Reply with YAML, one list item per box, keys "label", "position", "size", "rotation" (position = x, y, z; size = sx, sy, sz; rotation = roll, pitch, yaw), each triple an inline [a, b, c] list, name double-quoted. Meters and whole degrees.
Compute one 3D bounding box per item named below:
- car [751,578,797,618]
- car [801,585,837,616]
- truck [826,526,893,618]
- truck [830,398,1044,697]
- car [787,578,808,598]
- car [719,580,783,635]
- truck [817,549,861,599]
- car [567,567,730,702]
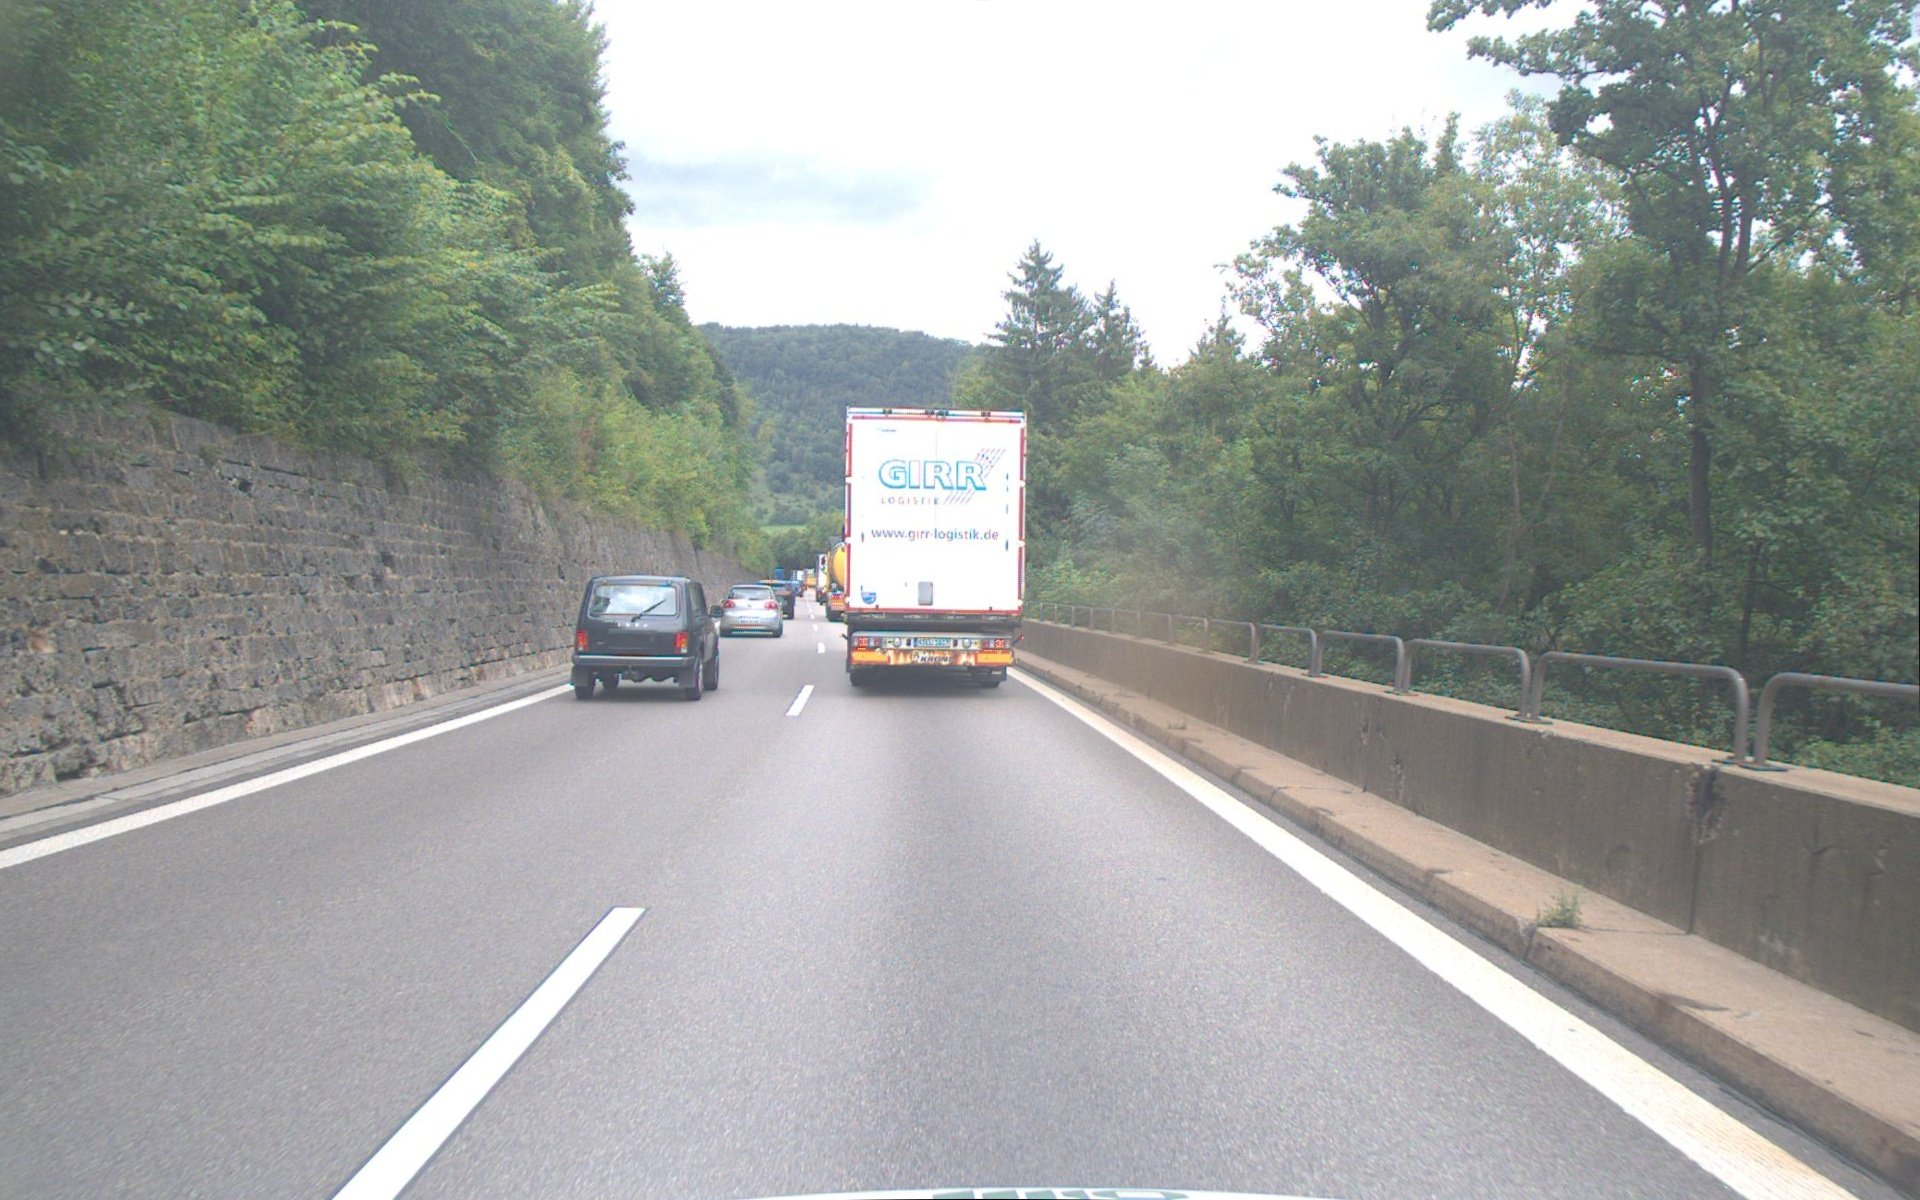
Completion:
- label: "car"
  position: [-7.917, -0.066, 70.693]
  size: [1.880, 1.622, 4.174]
  rotation: [1, 0, -5]
- label: "car"
  position: [-9.743, 0.064, 114.846]
  size: [1.952, 2.049, 4.001]
  rotation: [2, -1, 2]
- label: "truck"
  position: [-4.413, -1.122, 71.028]
  size: [2.438, 3.634, 9.297]
  rotation: [1, 0, -6]
- label: "truck"
  position: [-0.500, -0.732, 27.229]
  size: [2.850, 4.030, 9.274]
  rotation: [1, 0, -2]
- label: "car"
  position: [-17.013, -1.231, 173.315]
  size: [1.954, 2.049, 3.996]
  rotation: [2, -1, -4]
- label: "car"
  position: [-5.996, 0.207, 47.838]
  size: [1.695, 1.512, 3.995]
  rotation: [1, 0, -6]
- label: "truck"
  position: [-10.227, -2.122, 141.135]
  size: [3.441, 3.914, 11.768]
  rotation: [2, -1, -3]
- label: "car"
  position: [-4.197, 0.436, 22.843]
  size: [1.635, 1.667, 4.066]
  rotation: [1, 0, -3]
